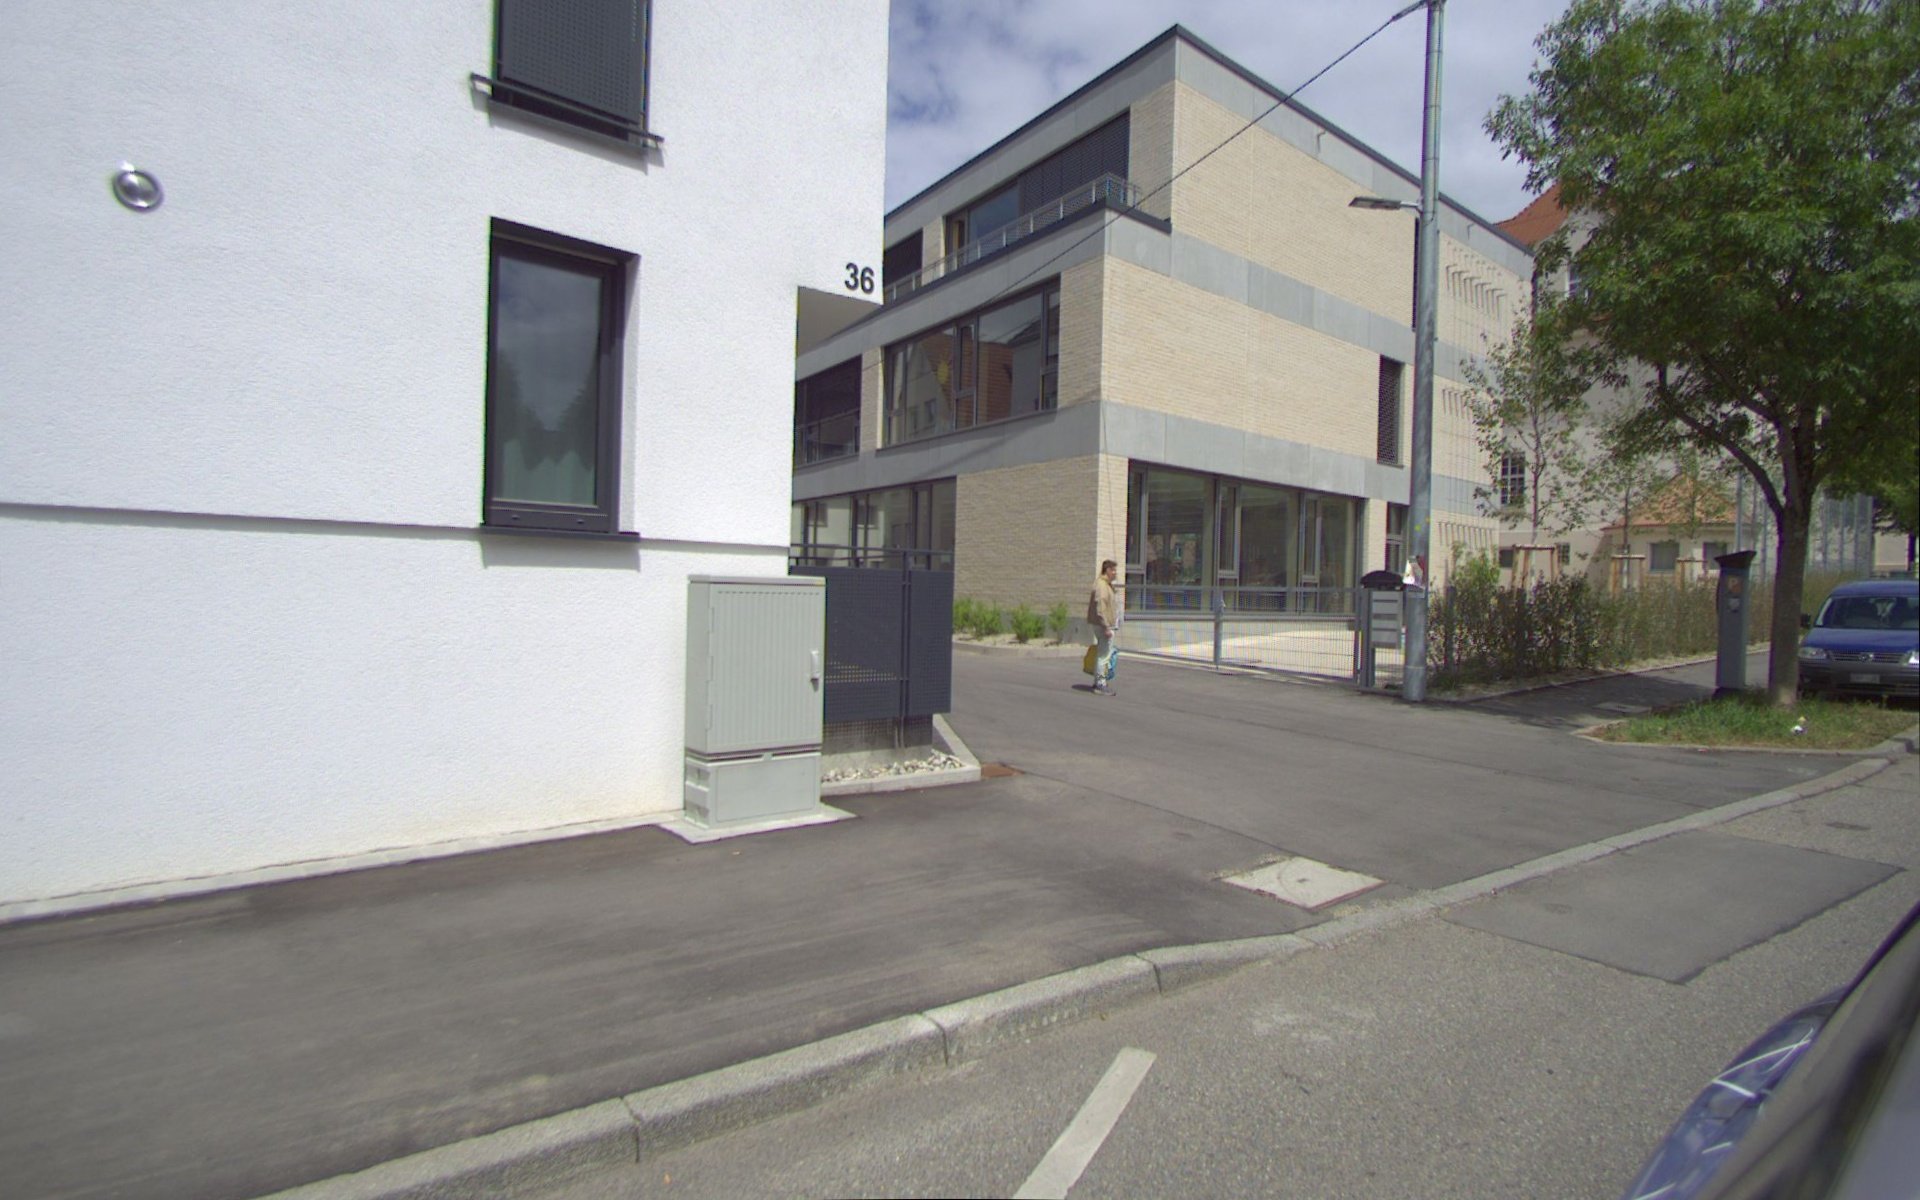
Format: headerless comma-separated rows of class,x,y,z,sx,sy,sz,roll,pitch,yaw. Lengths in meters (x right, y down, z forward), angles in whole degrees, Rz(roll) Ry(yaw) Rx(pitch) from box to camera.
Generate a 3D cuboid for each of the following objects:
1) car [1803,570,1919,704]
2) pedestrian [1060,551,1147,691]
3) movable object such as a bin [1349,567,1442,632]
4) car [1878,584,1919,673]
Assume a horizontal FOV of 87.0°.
car,13.957,0.444,14.894,4.086,1.765,1.698,-1,2,-40
pedestrian,1.849,0.255,13.027,0.815,1.725,0.774,0,0,-41
movable object such as a bin,10.250,-0.022,23.814,1.774,1.465,1.351,0,1,-39
car,18.260,0.496,18.527,3.605,1.538,1.677,0,2,-40
